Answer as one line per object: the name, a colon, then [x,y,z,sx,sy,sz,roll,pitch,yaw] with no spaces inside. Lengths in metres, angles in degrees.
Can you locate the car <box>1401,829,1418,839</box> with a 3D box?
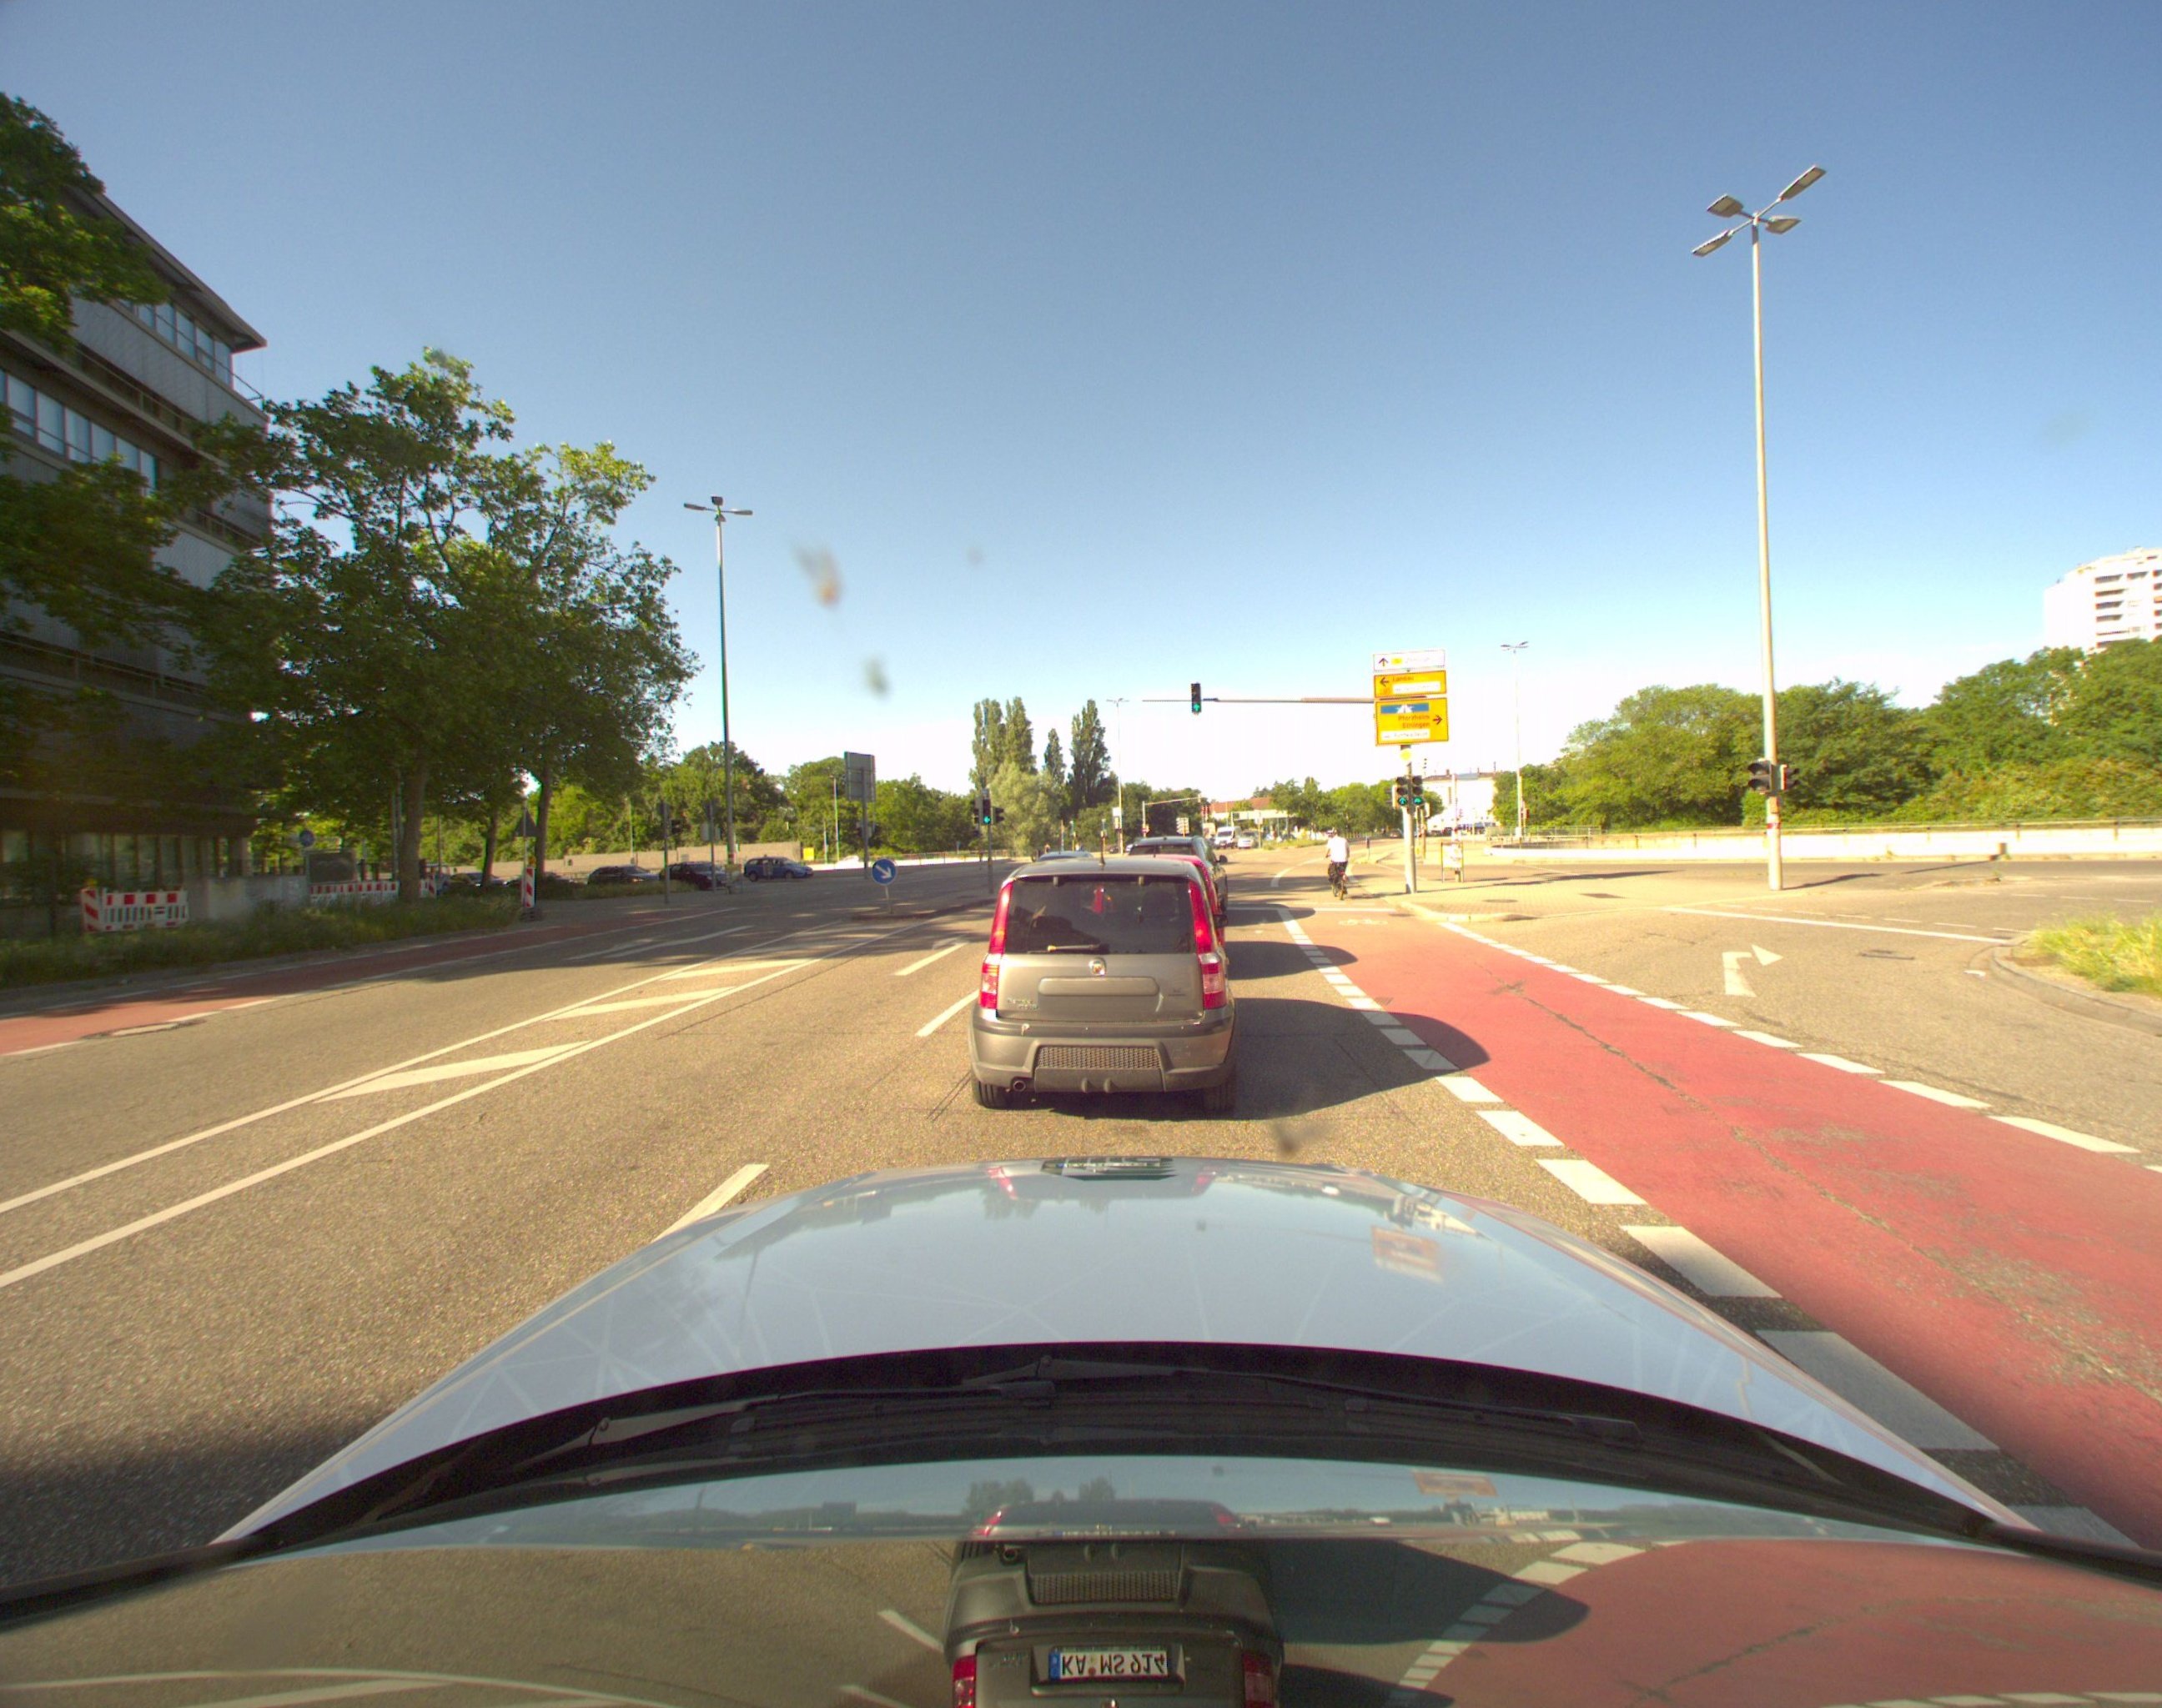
car: [54.130,-3.336,134.156,1.926,1.528,4.123,-2,1,30]

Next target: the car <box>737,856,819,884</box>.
car: [-18.905,0.978,50.897,4.410,1.540,1.960,-2,1,15]

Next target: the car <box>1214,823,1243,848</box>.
car: [16.442,-2.073,90.554,1.920,2.576,6.122,-2,1,22]

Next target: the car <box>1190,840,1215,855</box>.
car: [13.705,-0.764,91.603,1.920,1.507,4.020,-3,1,19]

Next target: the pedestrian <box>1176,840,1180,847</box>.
pedestrian: [15.176,-1.651,127.104,0.419,1.136,0.400,-1,-1,27]

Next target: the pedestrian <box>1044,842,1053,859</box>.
pedestrian: [-2.998,-0.333,75.011,0.678,1.463,0.702,-2,1,-4]

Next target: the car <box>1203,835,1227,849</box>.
car: [16.205,-1.451,98.152,1.795,1.541,4.641,-3,1,21]

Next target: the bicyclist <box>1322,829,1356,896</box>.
bicyclist: [6.636,0.201,21.019,0.719,1.659,1.117,-1,1,13]

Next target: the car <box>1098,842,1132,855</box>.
car: [4.336,-0.719,104.261,4.018,1.625,1.880,0,-1,-37]

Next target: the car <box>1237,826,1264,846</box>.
car: [18.061,-1.919,86.523,1.920,2.008,4.958,-2,1,22]

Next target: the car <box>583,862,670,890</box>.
car: [-24.927,1.229,44.654,4.452,1.358,1.892,-2,1,27]

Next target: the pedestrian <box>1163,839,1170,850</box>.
pedestrian: [12.902,-1.454,122.976,0.782,1.664,0.633,-1,-1,42]

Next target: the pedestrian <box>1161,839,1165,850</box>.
pedestrian: [12.446,-1.420,123.314,0.494,1.701,0.503,-1,-1,26]

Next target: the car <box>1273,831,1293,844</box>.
car: [27.460,-2.303,110.579,1.920,1.622,4.530,-2,1,22]

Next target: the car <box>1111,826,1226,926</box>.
car: [1.993,0.382,17.375,1.932,1.840,4.167,-2,1,12]

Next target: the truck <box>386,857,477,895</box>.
truck: [-43.532,1.477,54.512,7.418,2.359,2.178,-2,1,30]

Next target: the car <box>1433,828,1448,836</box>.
car: [79.383,-4.887,179.958,1.926,1.528,4.124,-2,1,39]

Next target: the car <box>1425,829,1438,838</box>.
car: [69.531,-4.093,161.488,1.926,1.528,4.123,-2,1,30]

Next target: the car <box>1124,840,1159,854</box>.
car: [7.619,-0.922,101.973,4.351,1.535,1.764,-3,2,-39]

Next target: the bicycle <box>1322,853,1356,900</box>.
bicycle: [6.636,0.554,21.017,0.686,1.102,1.833,-1,1,13]

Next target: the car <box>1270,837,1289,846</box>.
car: [35.626,-2.252,146.159,1.974,1.448,4.025,-1,-1,32]

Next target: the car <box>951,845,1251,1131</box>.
car: [0.336,0.738,6.410,1.609,1.515,3.828,-2,1,7]

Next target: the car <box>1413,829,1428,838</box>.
car: [62.010,-3.722,148.890,1.926,1.528,4.123,-2,1,30]

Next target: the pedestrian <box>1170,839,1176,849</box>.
pedestrian: [14.324,-1.579,127.395,0.713,1.641,0.676,-1,-1,27]

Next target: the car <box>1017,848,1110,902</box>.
car: [-0.424,0.570,24.835,1.768,1.415,4.335,-1,1,13]

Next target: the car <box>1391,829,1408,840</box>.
car: [49.524,-3.045,126.662,1.926,1.528,4.123,-2,1,30]

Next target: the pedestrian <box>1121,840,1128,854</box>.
pedestrian: [4.992,-0.770,94.112,0.557,1.547,0.573,-3,-1,-14]

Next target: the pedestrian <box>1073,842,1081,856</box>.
pedestrian: [-0.466,-0.558,94.434,0.710,1.547,0.725,-3,-1,-14]

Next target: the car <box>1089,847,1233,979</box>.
car: [1.162,0.678,11.359,1.609,1.463,3.759,-2,1,7]

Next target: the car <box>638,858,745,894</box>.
car: [-19.662,1.099,41.144,4.731,1.621,1.961,-2,1,18]
